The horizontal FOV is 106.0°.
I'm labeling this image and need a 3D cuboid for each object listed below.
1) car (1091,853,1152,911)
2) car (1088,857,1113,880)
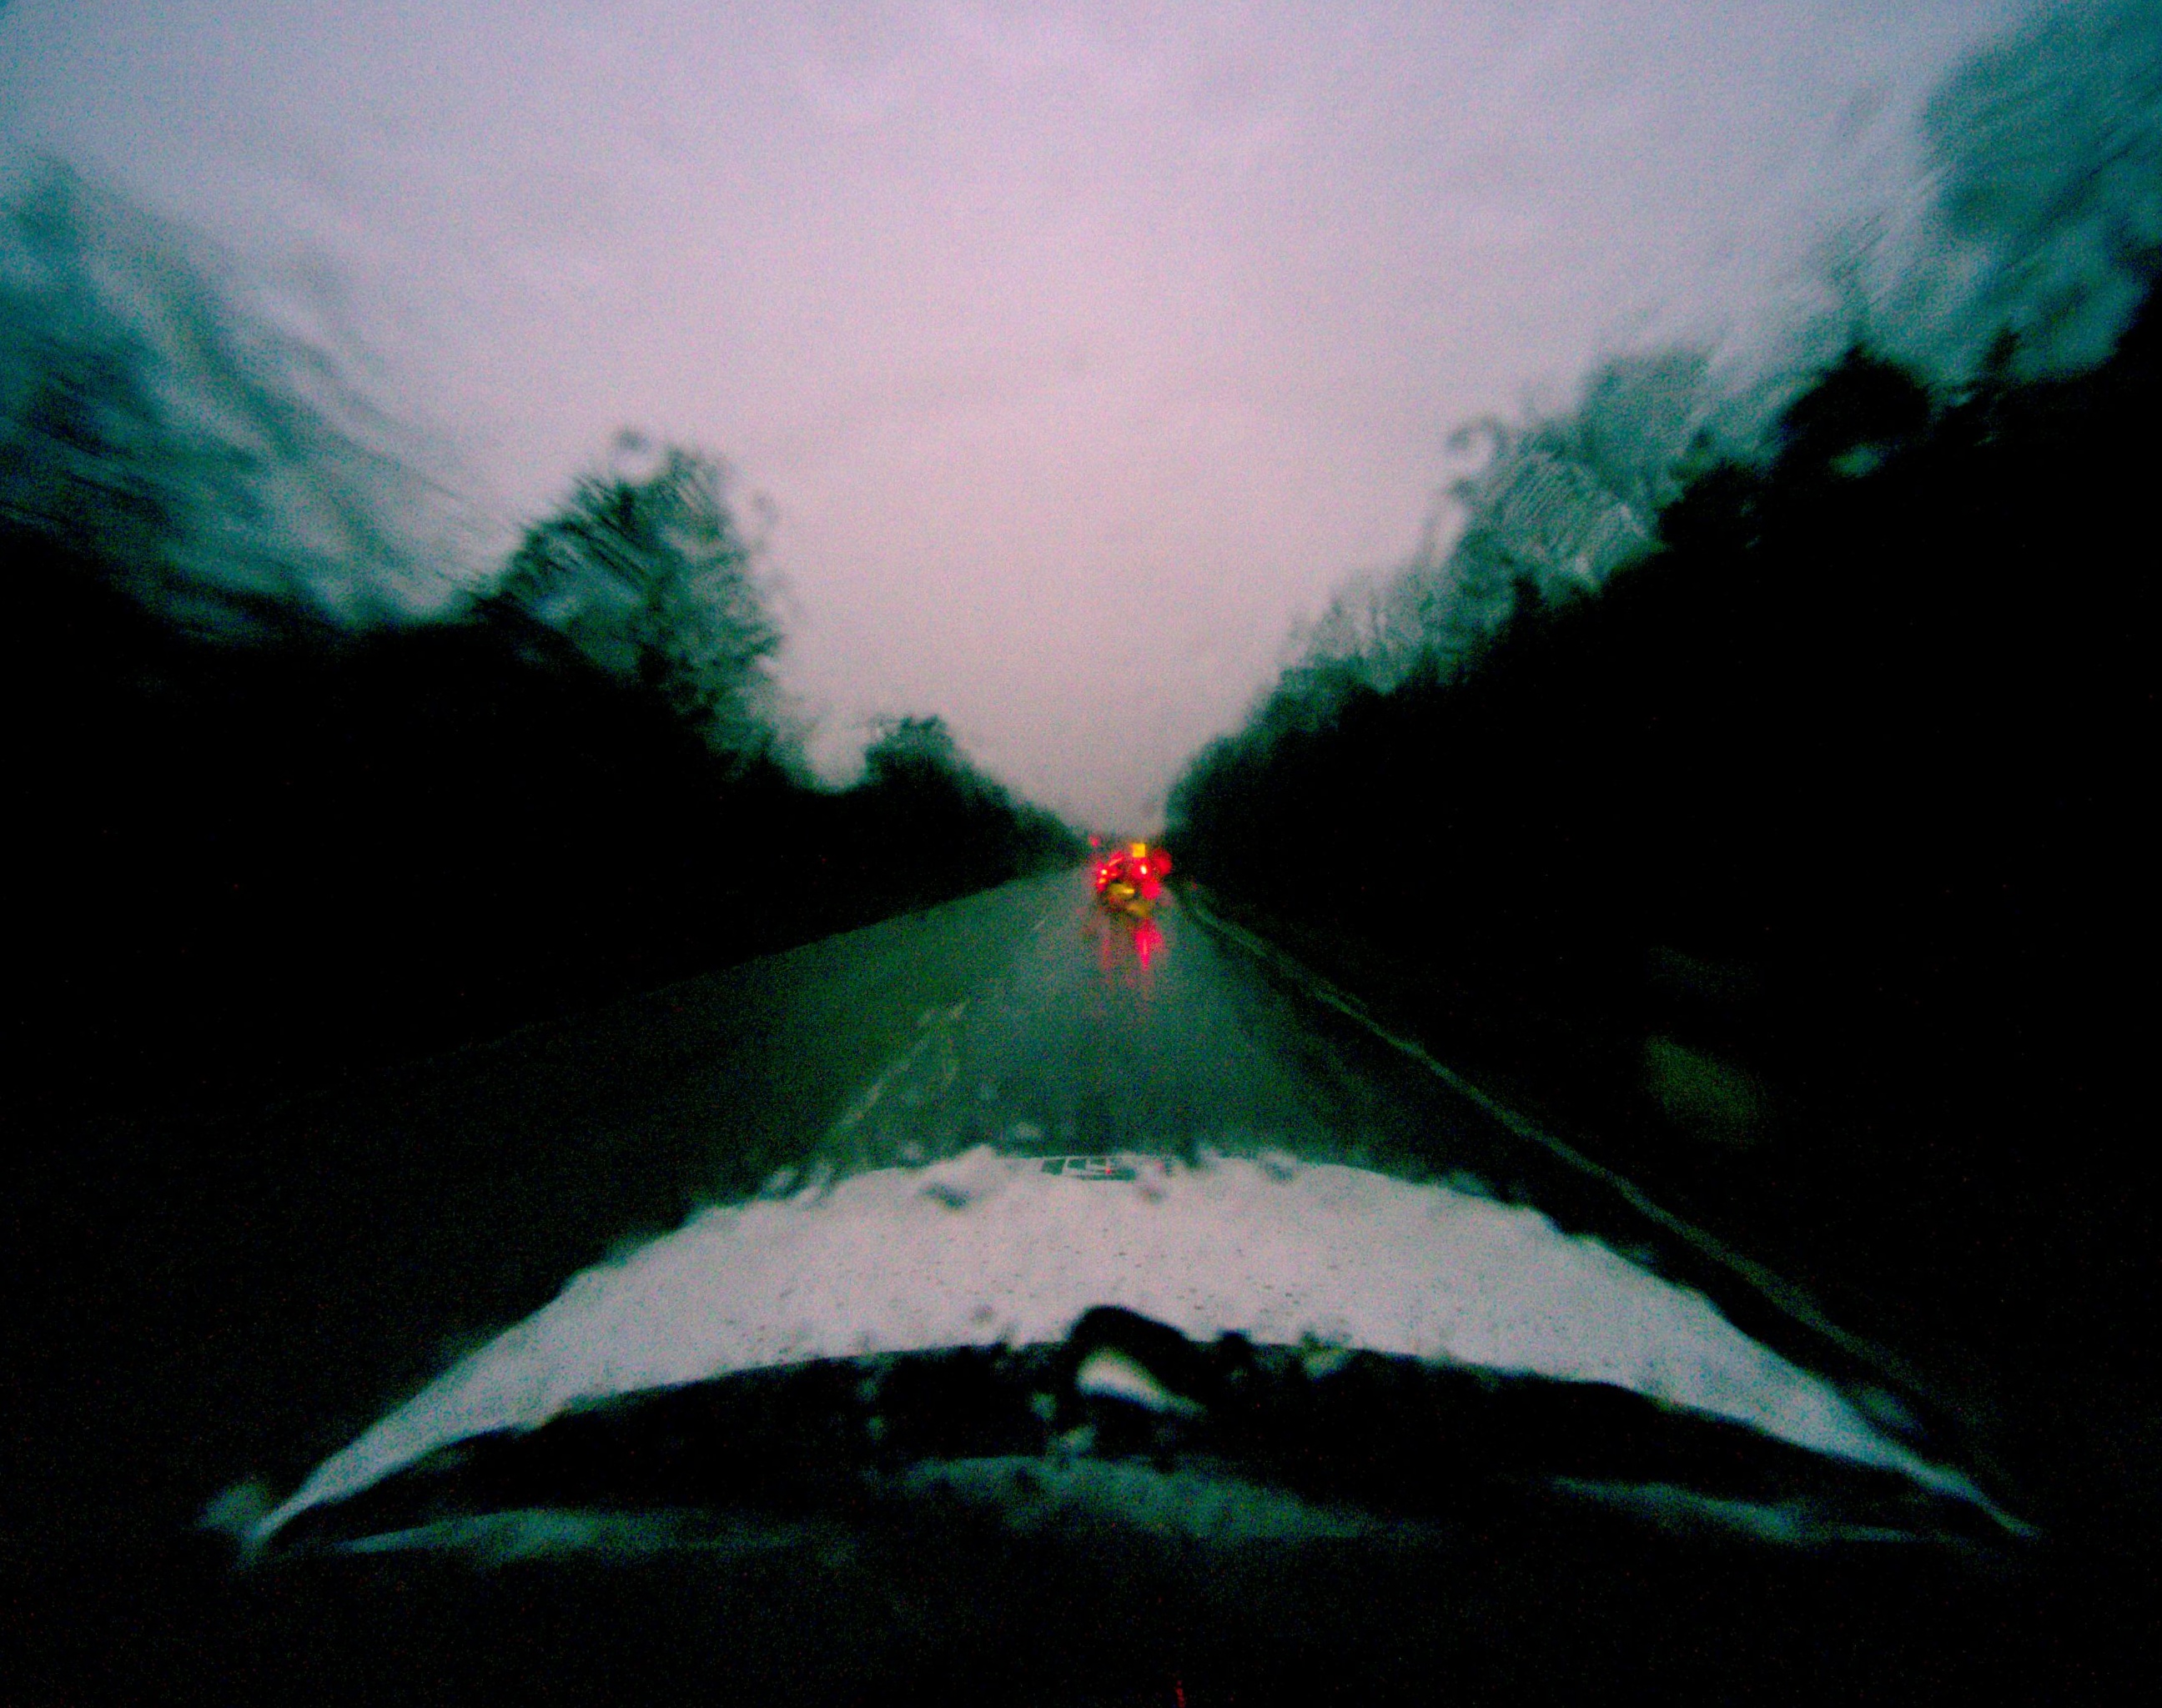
[{"bbox_3d":[1.293,0.827,25.502,1.720,1.643,4.003,-1,0,3],"label":"car"},{"bbox_3d":[1.514,1.101,62.695,1.720,1.643,4.003,-1,0,3],"label":"car"}]
